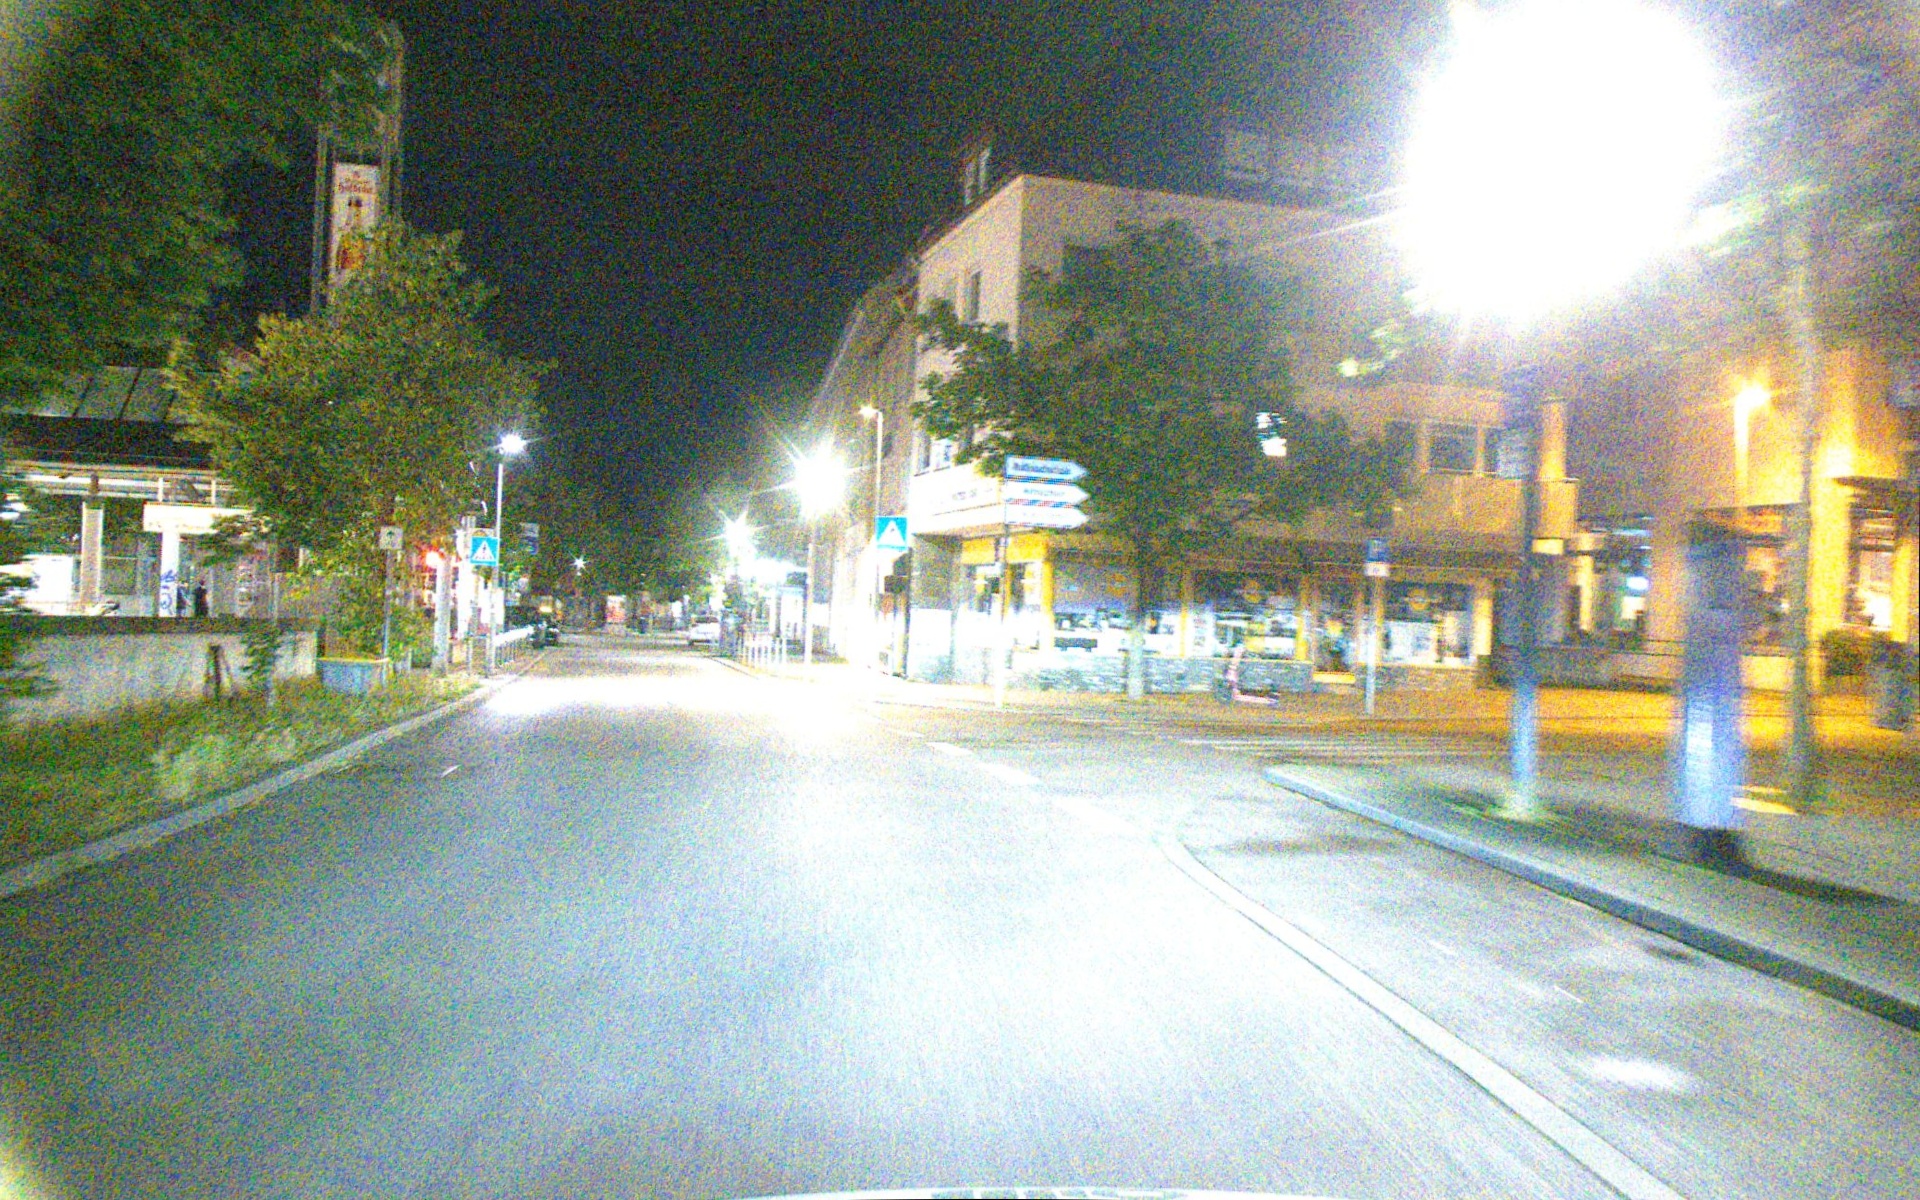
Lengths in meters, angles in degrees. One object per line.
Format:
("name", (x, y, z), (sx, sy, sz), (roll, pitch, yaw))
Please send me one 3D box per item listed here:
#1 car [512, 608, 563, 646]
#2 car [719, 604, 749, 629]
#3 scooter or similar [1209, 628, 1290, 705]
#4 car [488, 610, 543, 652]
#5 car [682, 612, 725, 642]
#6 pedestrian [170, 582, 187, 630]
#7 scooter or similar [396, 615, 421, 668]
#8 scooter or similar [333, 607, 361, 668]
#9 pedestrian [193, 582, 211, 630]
("car", (-18.186, 1.139, 71.115), (1.806, 1.478, 3.978), (0, 1, -19))
("car", (-15.222, 1.091, 111.197), (1.680, 1.574, 3.527), (0, 1, -13))
("scooter or similar", (5.035, 1.148, 28.802), (1.222, 1.248, 0.598), (3, 1, -6))
("car", (-16.310, 1.128, 60.821), (1.802, 1.478, 3.987), (0, -1, -13))
("car", (-12.730, 1.304, 81.832), (1.802, 1.382, 3.987), (0, 1, -13))
("pedestrian", (-25.555, 0.200, 54.100), (0.451, 1.573, 0.479), (0, 0, -19))
("scooter or similar", (-12.362, 0.922, 37.063), (0.422, 1.154, 1.001), (0, 0, -13))
("scooter or similar", (-13.610, 0.827, 36.734), (0.422, 1.307, 1.143), (0, 0, -13))
("pedestrian", (-24.873, 0.200, 54.289), (0.520, 1.573, 0.508), (0, 0, -22))
